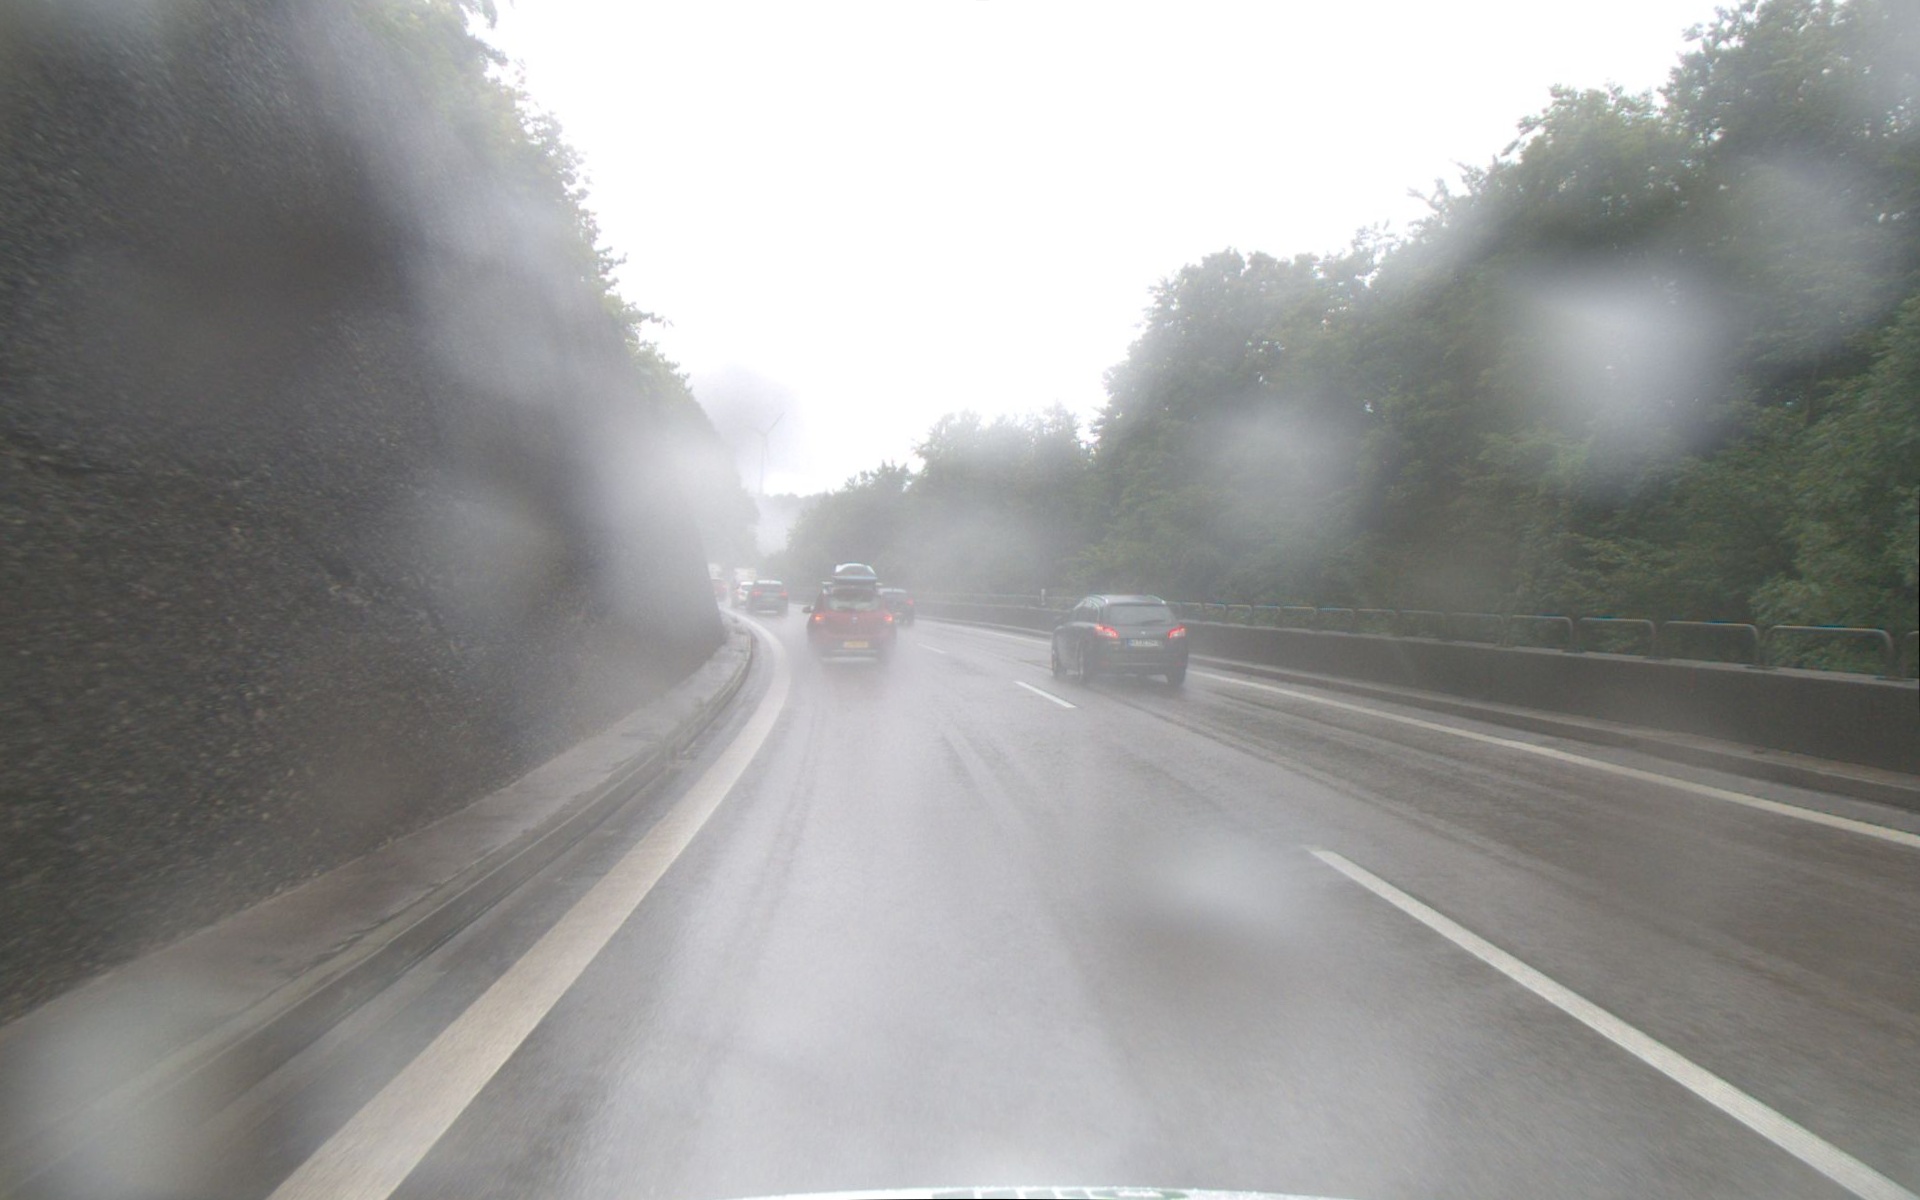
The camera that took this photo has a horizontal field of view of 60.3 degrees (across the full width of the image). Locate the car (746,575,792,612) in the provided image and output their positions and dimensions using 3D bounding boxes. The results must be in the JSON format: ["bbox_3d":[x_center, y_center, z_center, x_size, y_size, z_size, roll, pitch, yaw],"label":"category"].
[{"bbox_3d":[-9.362,-0.318,80.907,1.958,1.713,3.989,1,-1,-11],"label":"car"}]

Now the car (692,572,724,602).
[{"bbox_3d":[-18.156,-0.916,119.009,1.959,2.049,3.986,1,-1,-13],"label":"car"}]

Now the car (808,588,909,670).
[{"bbox_3d":[-2.145,0.566,34.179,1.955,1.579,3.996,1,0,-5],"label":"car"}]

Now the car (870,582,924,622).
[{"bbox_3d":[-2.647,0.056,68.796,1.955,1.579,3.994,1,1,-7],"label":"car"}]

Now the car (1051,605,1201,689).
[{"bbox_3d":[2.760,0.765,28.346,1.766,1.330,3.994,1,0,-6],"label":"car"}]
